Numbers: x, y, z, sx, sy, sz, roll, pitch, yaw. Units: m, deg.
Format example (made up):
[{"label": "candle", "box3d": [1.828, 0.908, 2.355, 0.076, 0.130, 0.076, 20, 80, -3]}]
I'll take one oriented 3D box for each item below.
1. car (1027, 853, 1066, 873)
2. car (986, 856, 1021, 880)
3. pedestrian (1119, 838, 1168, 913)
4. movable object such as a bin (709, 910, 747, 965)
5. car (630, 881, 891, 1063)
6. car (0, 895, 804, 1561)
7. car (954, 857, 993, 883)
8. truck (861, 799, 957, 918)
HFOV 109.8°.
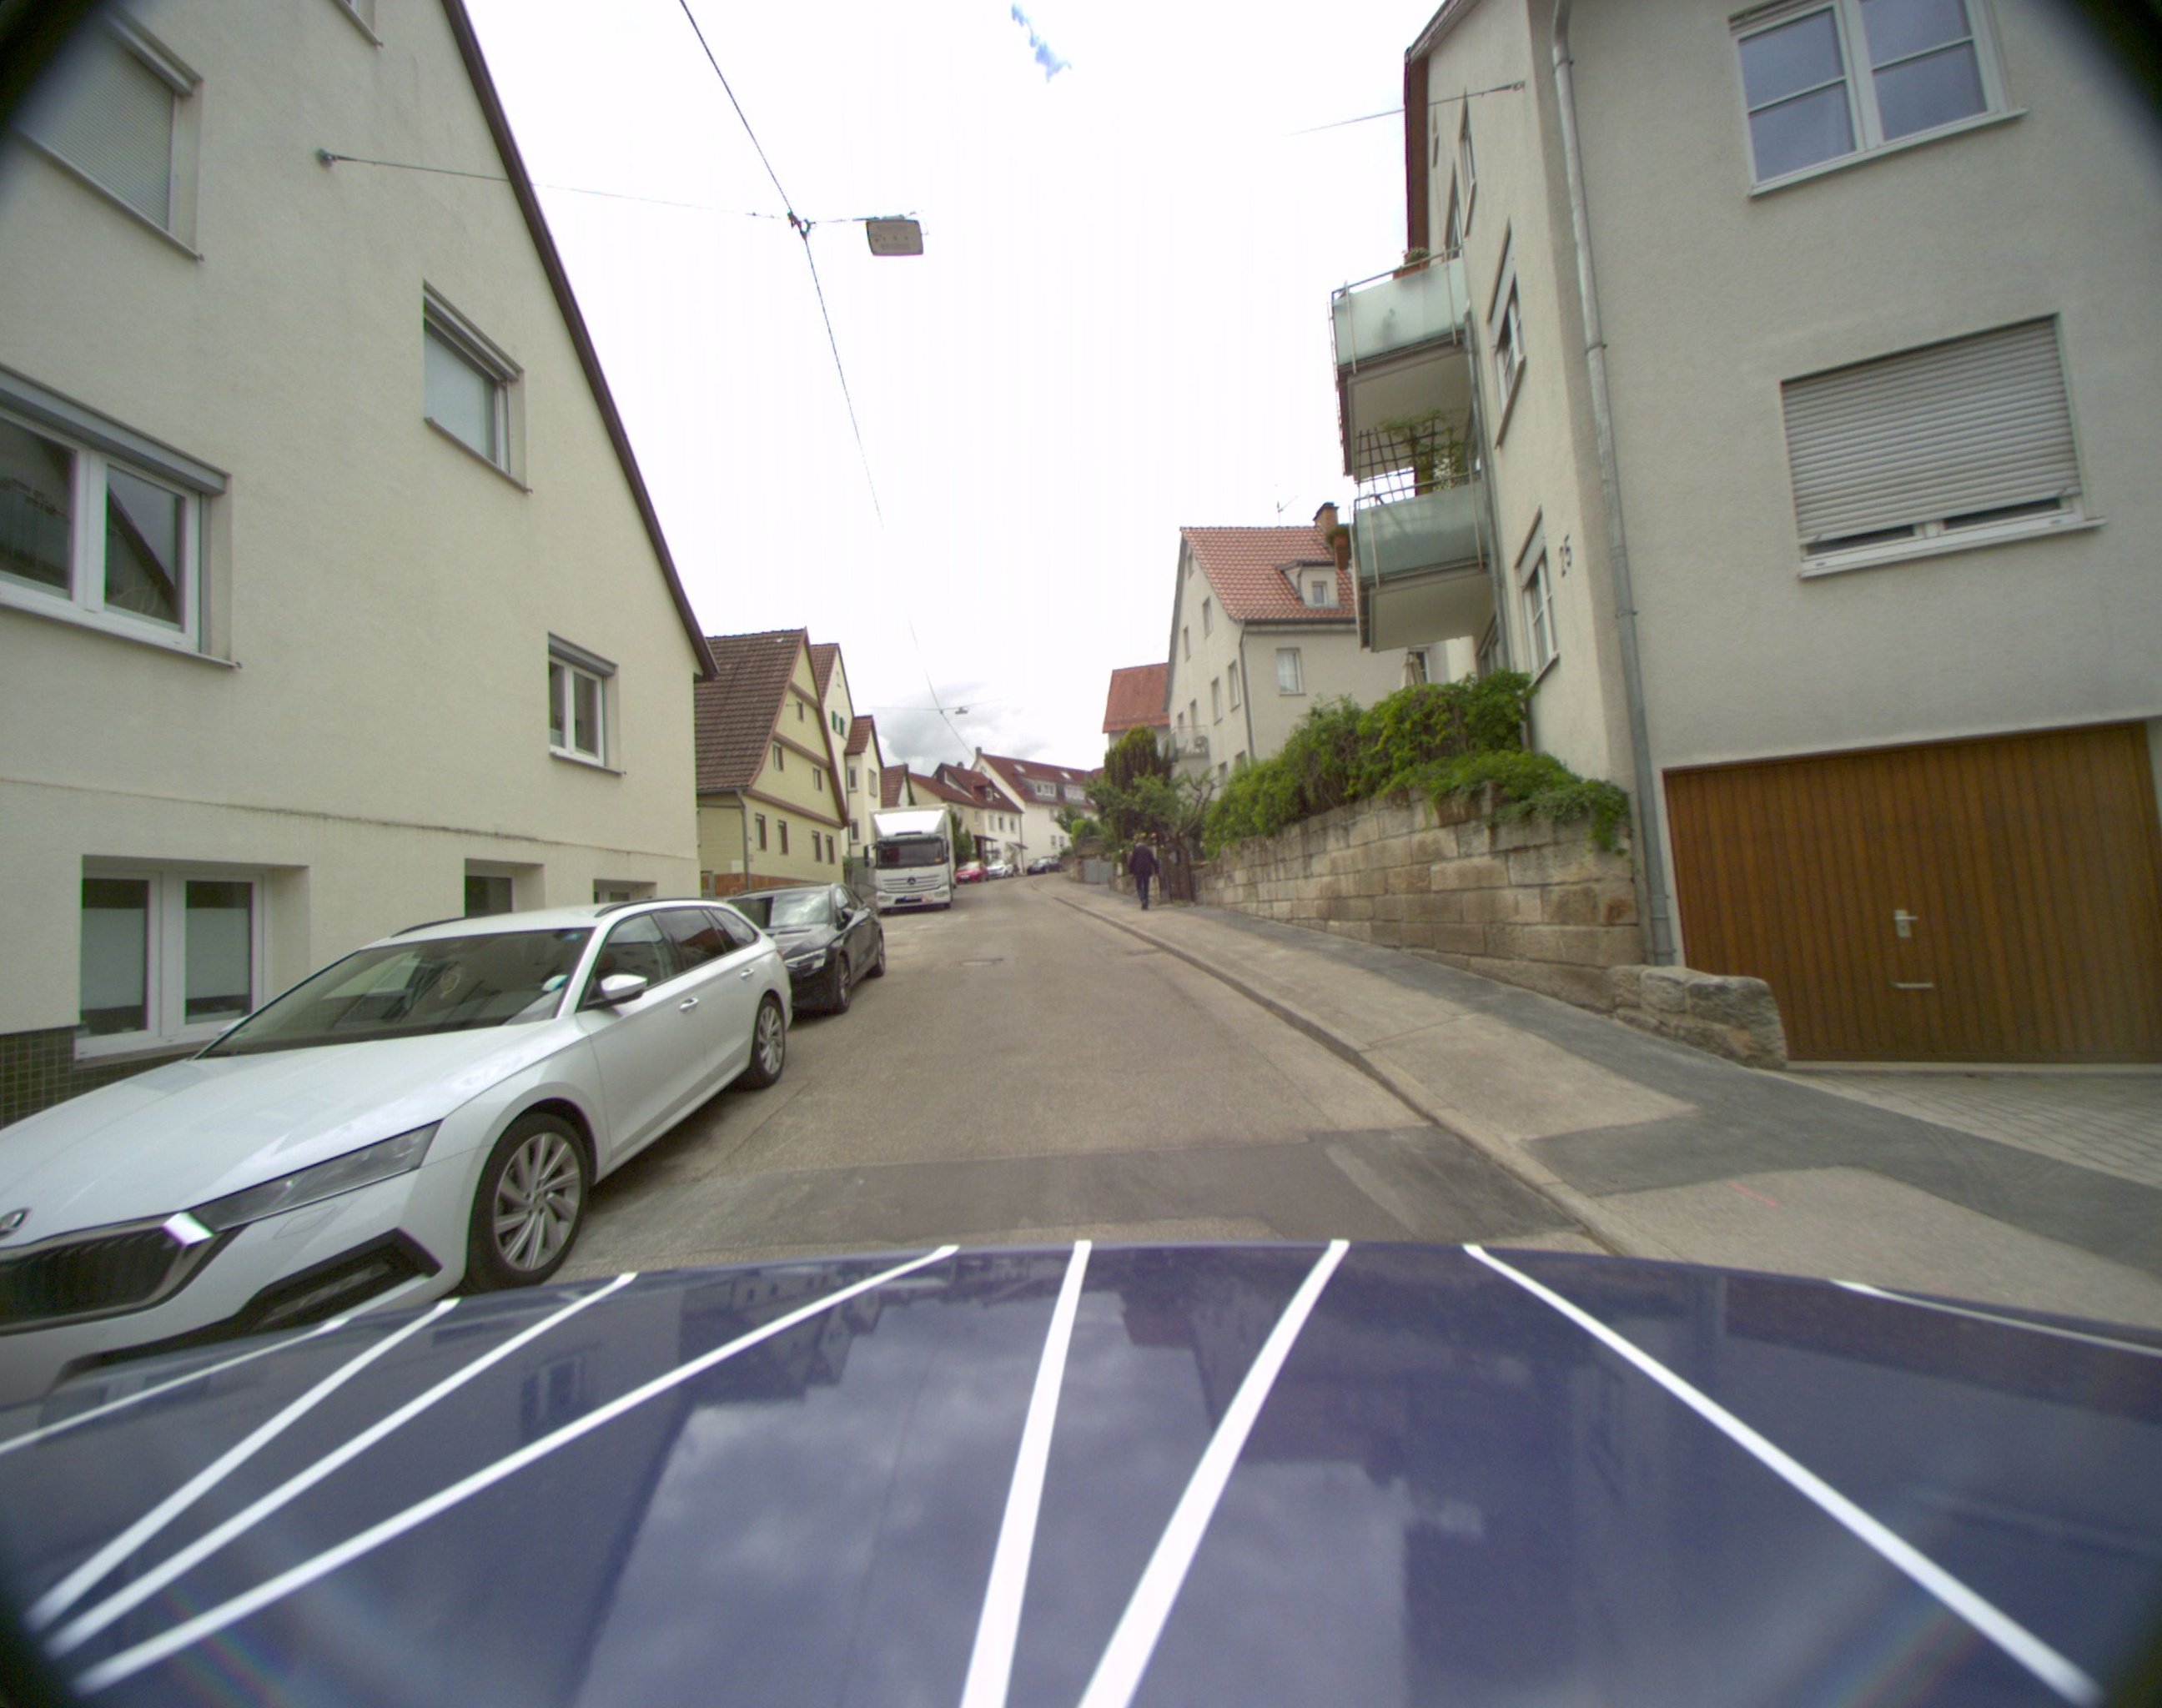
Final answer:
[{"label": "car", "box3d": [-2.945, 0.766, 65.698, 1.720, 1.398, 4.009, -7, -2, 23]}, {"label": "car", "box3d": [-5.875, 1.044, 57.866, 1.614, 1.523, 2.900, -7, -1, 14]}, {"label": "pedestrian", "box3d": [1.482, 0.505, 18.218, 0.842, 1.668, 0.976, -6, 2, -7]}, {"label": "movable object such as a bin", "box3d": [-6.314, 1.480, 13.610, 0.465, 0.911, 0.542, 0, 1, -6]}, {"label": "car", "box3d": [-3.544, 1.188, 9.273, 1.678, 1.400, 4.049, -6, 1, -6]}, {"label": "car", "box3d": [-3.150, 1.155, 4.141, 1.800, 1.437, 4.296, -5, 1, -3]}, {"label": "car", "box3d": [-7.118, 1.052, 50.646, 1.682, 1.443, 3.852, -5, 1, 4]}, {"label": "truck", "box3d": [-5.971, 0.115, 27.601, 2.684, 3.576, 8.098, -2, 1, -9]}]
